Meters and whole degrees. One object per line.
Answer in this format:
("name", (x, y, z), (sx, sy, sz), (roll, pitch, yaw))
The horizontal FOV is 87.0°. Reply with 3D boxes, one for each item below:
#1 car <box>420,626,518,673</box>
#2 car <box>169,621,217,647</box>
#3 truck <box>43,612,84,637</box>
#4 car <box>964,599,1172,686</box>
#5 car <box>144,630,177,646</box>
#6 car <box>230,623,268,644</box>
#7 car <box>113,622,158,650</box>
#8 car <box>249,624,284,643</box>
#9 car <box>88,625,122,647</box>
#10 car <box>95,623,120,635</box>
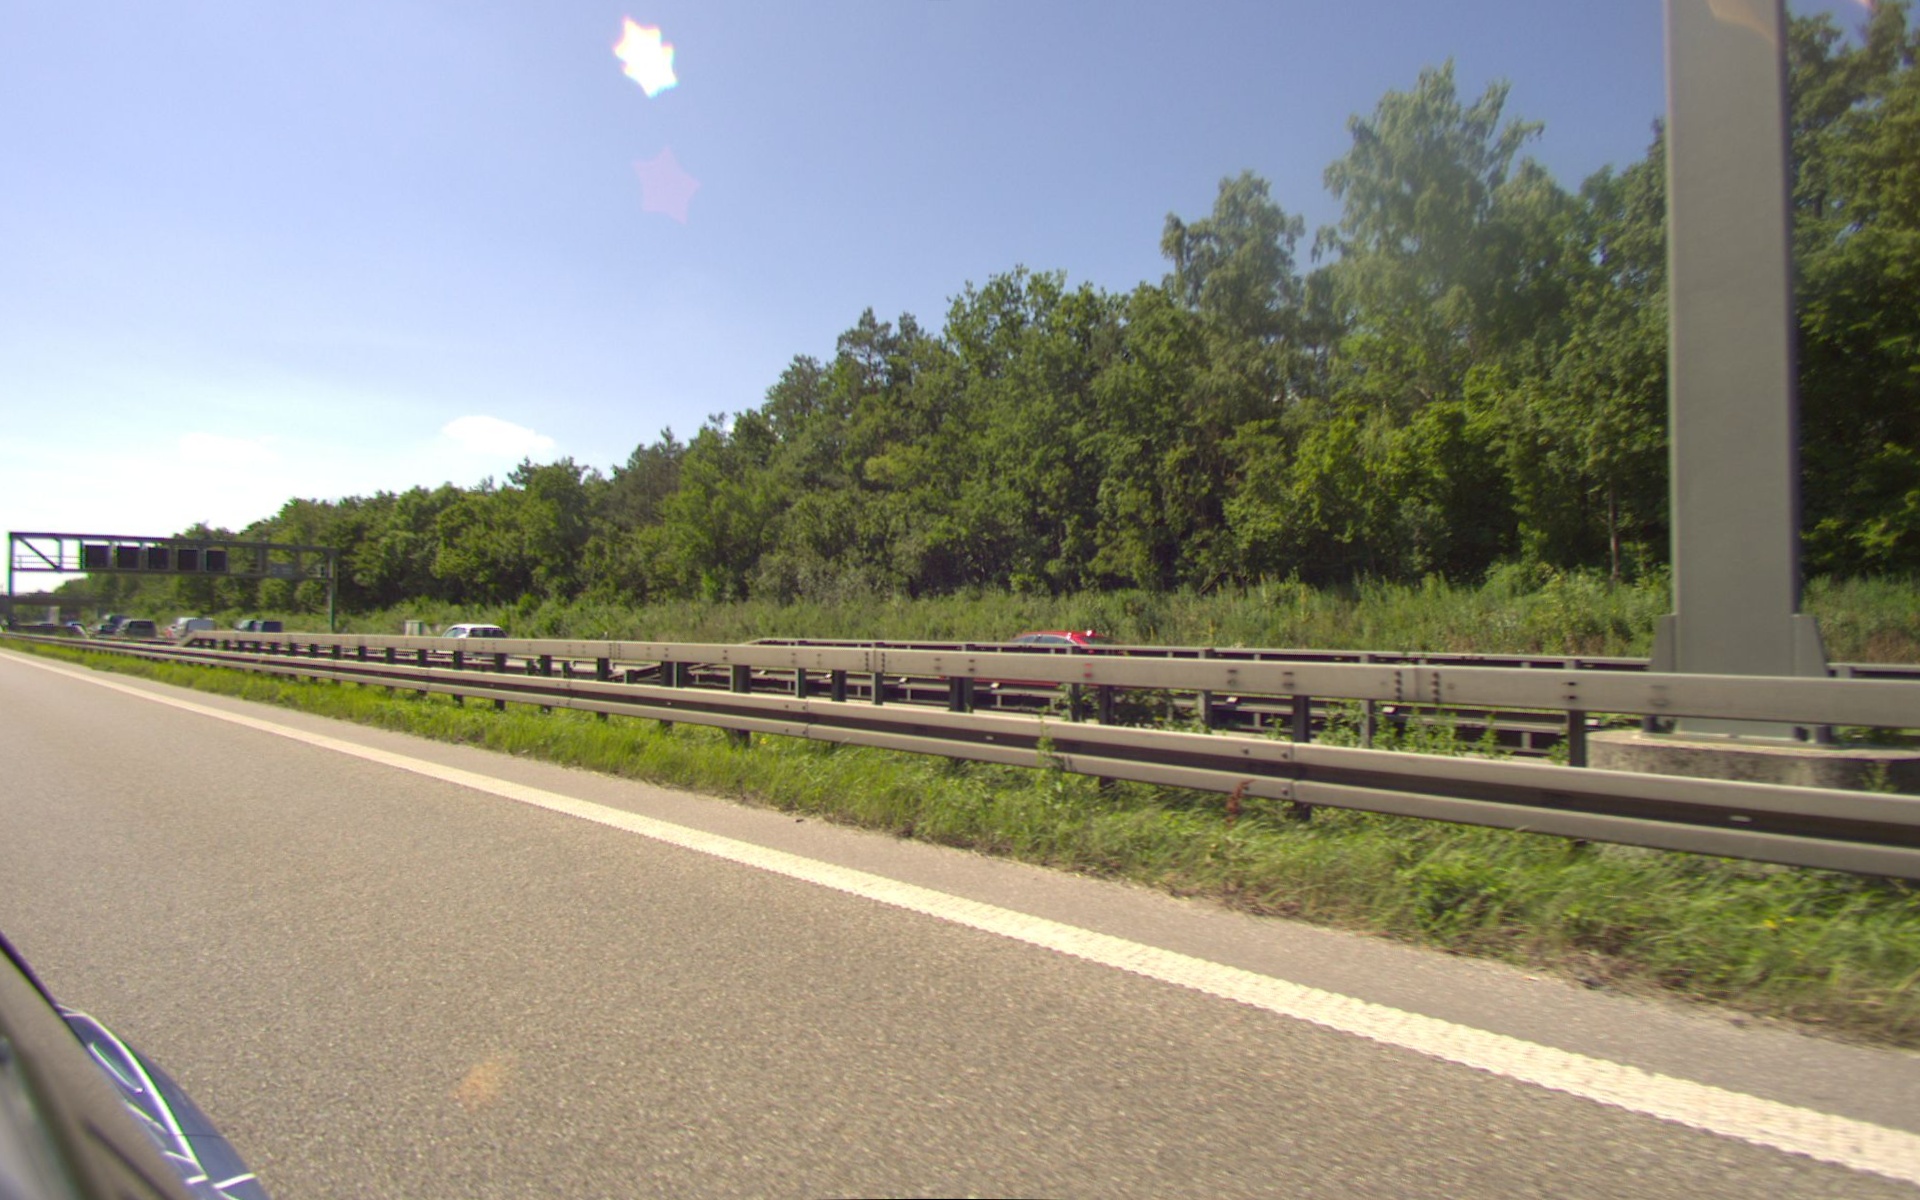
("car", (-16.093, 1.619, 33.120), (3.541, 1.453, 1.578), (-1, -4, 41))
("car", (-52.954, 2.327, 69.864), (3.795, 1.724, 1.923), (-1, -2, 41))
("truck", (-142.062, 3.865, 160.340), (9.647, 3.899, 3.558), (-1, -2, 41))
("car", (1.939, 0.789, 18.672), (3.541, 1.453, 1.578), (-1, -4, 41))
("car", (-74.652, 3.551, 94.433), (3.843, 1.424, 1.753), (-1, -2, 41))
("car", (-53.111, 2.504, 75.570), (3.388, 1.506, 1.522), (-1, -2, 41))
("car", (-52.572, 2.271, 64.497), (3.241, 1.724, 1.726), (-1, -2, 41))
("car", (-50.232, 2.417, 73.296), (2.725, 1.372, 1.423), (-1, -2, 41))
("car", (-77.537, 3.223, 91.750), (3.843, 1.962, 1.753), (-1, -2, 41))
("car", (-99.286, 3.374, 117.879), (3.679, 1.398, 1.638), (-1, -2, 41))
